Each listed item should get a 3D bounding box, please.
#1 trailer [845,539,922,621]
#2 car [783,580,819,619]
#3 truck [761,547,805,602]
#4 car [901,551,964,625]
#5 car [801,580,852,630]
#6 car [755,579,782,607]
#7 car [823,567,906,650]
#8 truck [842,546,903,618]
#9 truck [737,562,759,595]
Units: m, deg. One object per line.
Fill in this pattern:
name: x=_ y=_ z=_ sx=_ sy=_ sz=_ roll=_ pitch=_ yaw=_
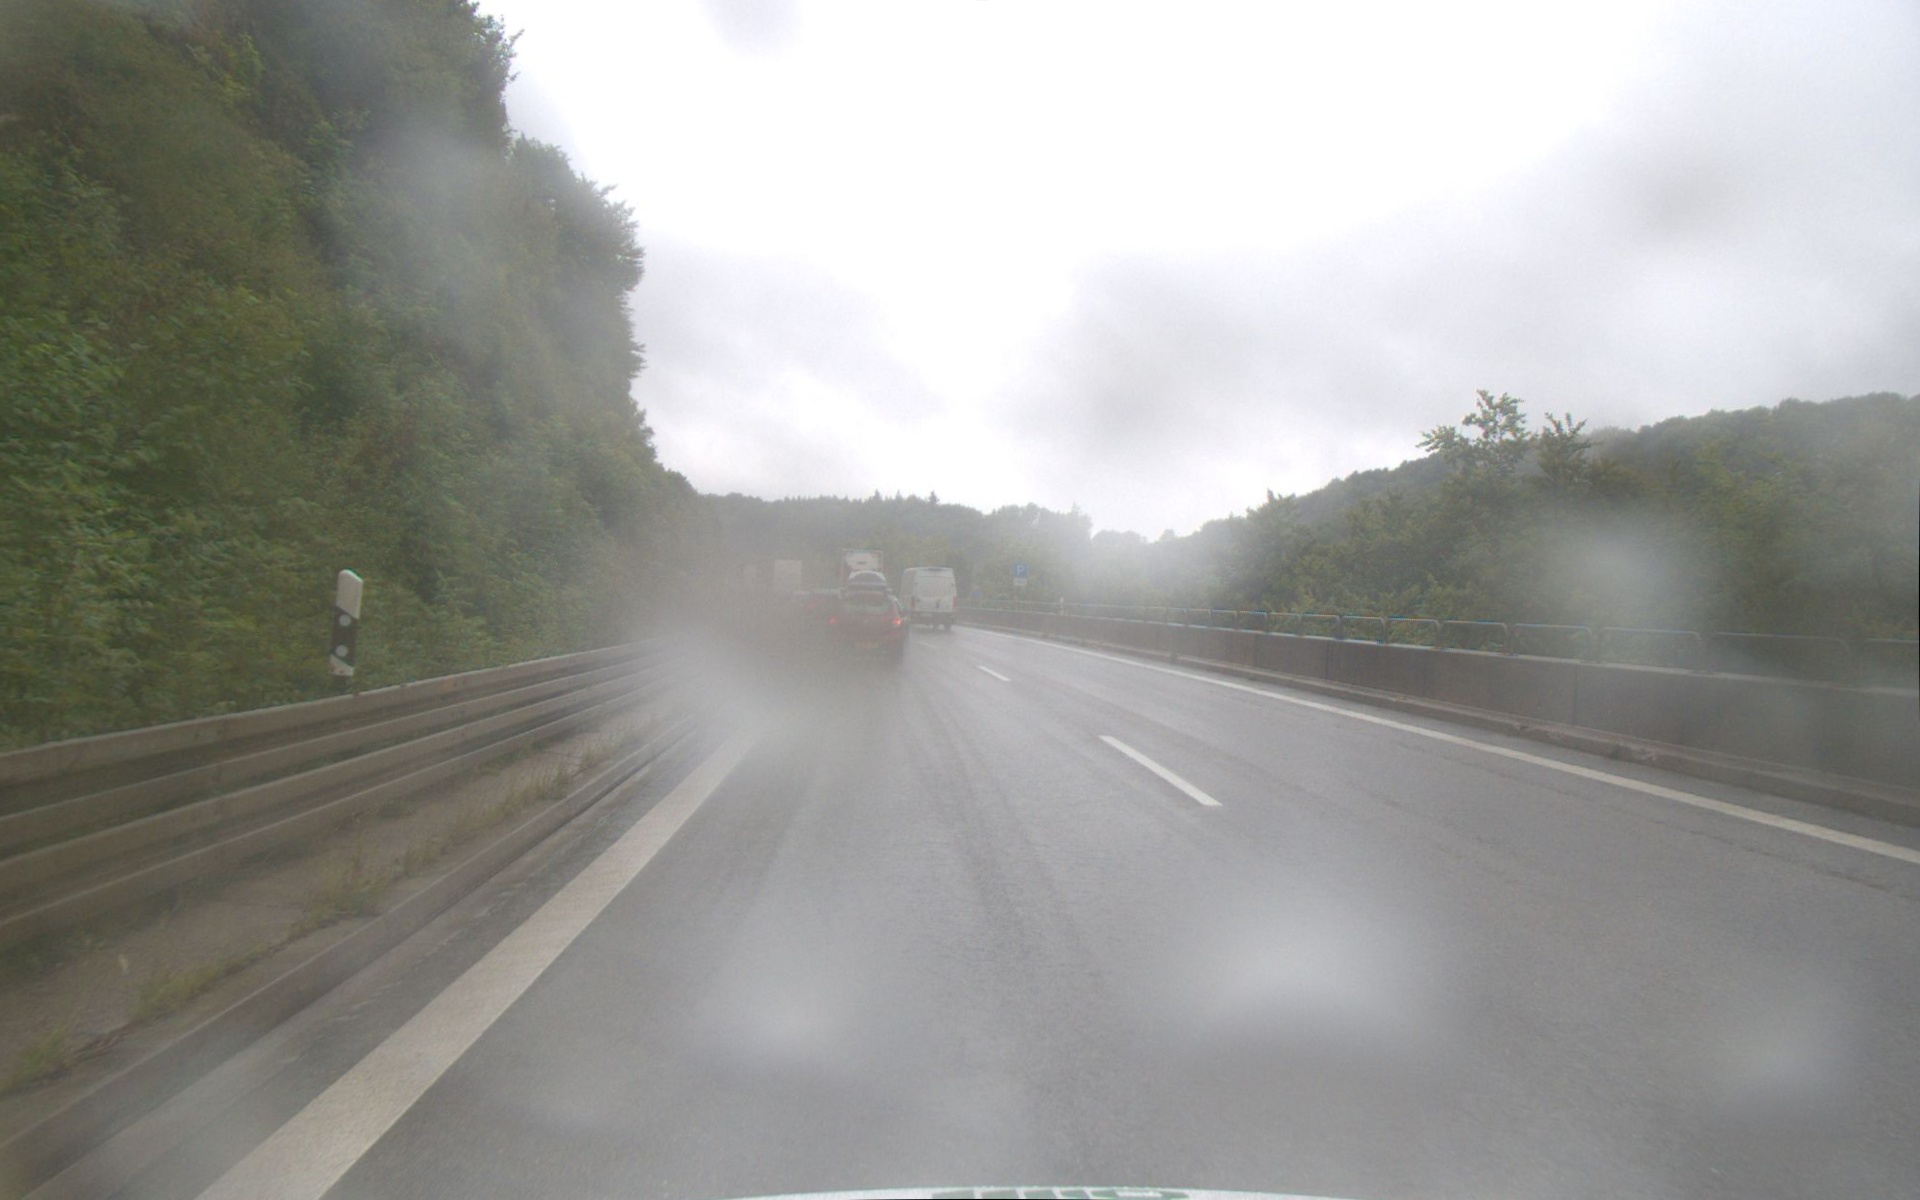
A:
trailer: x=-4.475 y=-1.050 z=93.002 sx=3.157 sy=4.068 sz=13.503 roll=3 pitch=0 yaw=-7
car: x=-8.058 y=-0.024 z=83.658 sx=1.683 sy=1.849 sz=3.886 roll=1 pitch=0 yaw=-7
truck: x=-15.851 y=-2.213 z=147.706 sx=3.165 sy=4.764 sz=8.278 roll=1 pitch=0 yaw=-11
car: x=-1.261 y=-0.492 z=71.695 sx=2.163 sy=2.842 sz=7.376 roll=5 pitch=0 yaw=-4
car: x=-4.899 y=0.185 z=60.716 sx=1.787 sy=1.726 sz=3.996 roll=1 pitch=0 yaw=-5
car: x=-14.562 y=-0.531 z=125.896 sx=1.955 sy=2.049 sz=3.994 roll=1 pitch=0 yaw=-7
car: x=-2.123 y=0.191 z=36.688 sx=1.723 sy=1.714 sz=3.997 roll=1 pitch=0 yaw=-4
truck: x=-5.344 y=-1.050 z=100.314 sx=3.158 sy=4.047 sz=5.431 roll=3 pitch=0 yaw=-7
truck: x=-23.560 y=-2.360 z=183.575 sx=2.067 sy=3.480 sz=6.208 roll=1 pitch=0 yaw=-9
